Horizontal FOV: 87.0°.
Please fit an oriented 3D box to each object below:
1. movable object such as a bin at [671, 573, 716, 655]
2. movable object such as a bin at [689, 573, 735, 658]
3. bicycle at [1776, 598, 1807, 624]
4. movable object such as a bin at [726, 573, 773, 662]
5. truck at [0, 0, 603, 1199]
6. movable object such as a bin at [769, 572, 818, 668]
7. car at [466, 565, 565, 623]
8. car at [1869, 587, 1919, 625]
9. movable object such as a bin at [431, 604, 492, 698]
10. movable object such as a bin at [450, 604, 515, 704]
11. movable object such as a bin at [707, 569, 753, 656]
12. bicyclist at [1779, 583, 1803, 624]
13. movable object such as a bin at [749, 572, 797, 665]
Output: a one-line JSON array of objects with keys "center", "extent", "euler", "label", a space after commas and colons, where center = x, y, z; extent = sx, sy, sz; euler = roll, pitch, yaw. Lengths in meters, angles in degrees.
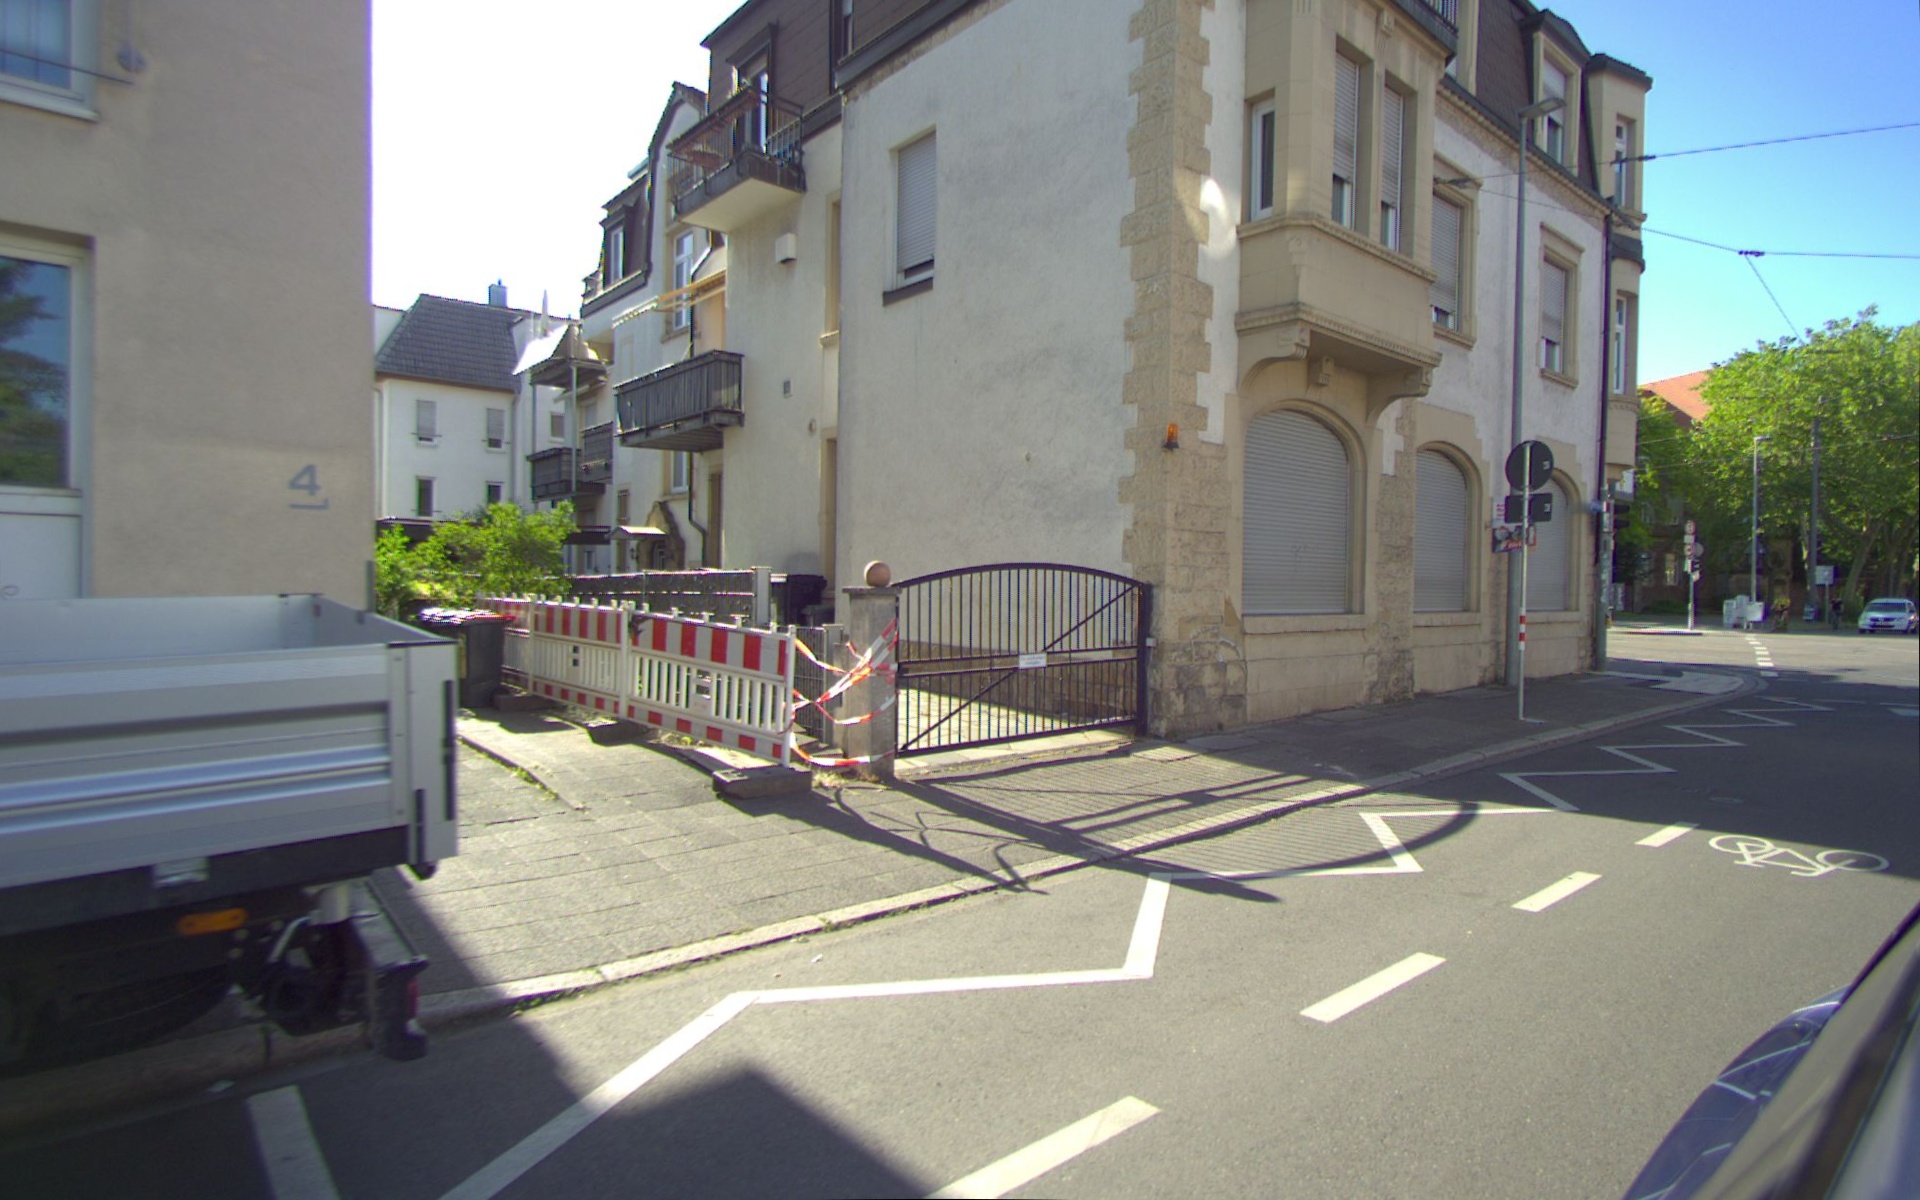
[{"center": [-4.631, 0.224, 17.579], "extent": [0.517, 1.384, 0.646], "euler": [0, 1, -40], "label": "movable object such as a bin"}, {"center": [-4.177, 0.247, 17.025], "extent": [0.517, 1.384, 0.646], "euler": [0, 1, -40], "label": "movable object such as a bin"}, {"center": [36.463, 0.486, 44.360], "extent": [2.062, 1.047, 0.690], "euler": [3, -1, -41], "label": "bicycle"}, {"center": [-3.349, 0.259, 16.069], "extent": [0.517, 1.384, 0.573], "euler": [0, 1, -41], "label": "movable object such as a bin"}, {"center": [-3.870, 0.212, 1.298], "extent": [6.037, 2.508, 2.300], "euler": [0, 1, -40], "label": "truck"}, {"center": [-2.479, 0.283, 15.055], "extent": [0.524, 1.398, 0.522], "euler": [0, 1, -41], "label": "movable object such as a bin"}, {"center": [-12.582, -0.193, 28.550], "extent": [1.624, 1.523, 3.504], "euler": [0, 1, -40], "label": "car"}, {"center": [42.565, 0.273, 45.543], "extent": [4.491, 1.639, 1.910], "euler": [1, -1, -41], "label": "car"}, {"center": [-5.399, 0.536, 10.958], "extent": [0.479, 0.961, 0.609], "euler": [0, 1, -38], "label": "movable object such as a bin"}, {"center": [-4.904, 0.536, 10.387], "extent": [0.479, 0.961, 0.609], "euler": [0, 1, -38], "label": "movable object such as a bin"}, {"center": [-3.766, 0.188, 16.543], "extent": [0.517, 1.384, 0.573], "euler": [0, 1, -41], "label": "movable object such as a bin"}, {"center": [36.365, 0.156, 44.274], "extent": [0.611, 1.751, 0.669], "euler": [3, -1, -41], "label": "bicyclist"}, {"center": [-2.858, 0.268, 15.488], "extent": [0.517, 1.384, 0.533], "euler": [0, 1, -41], "label": "movable object such as a bin"}]
